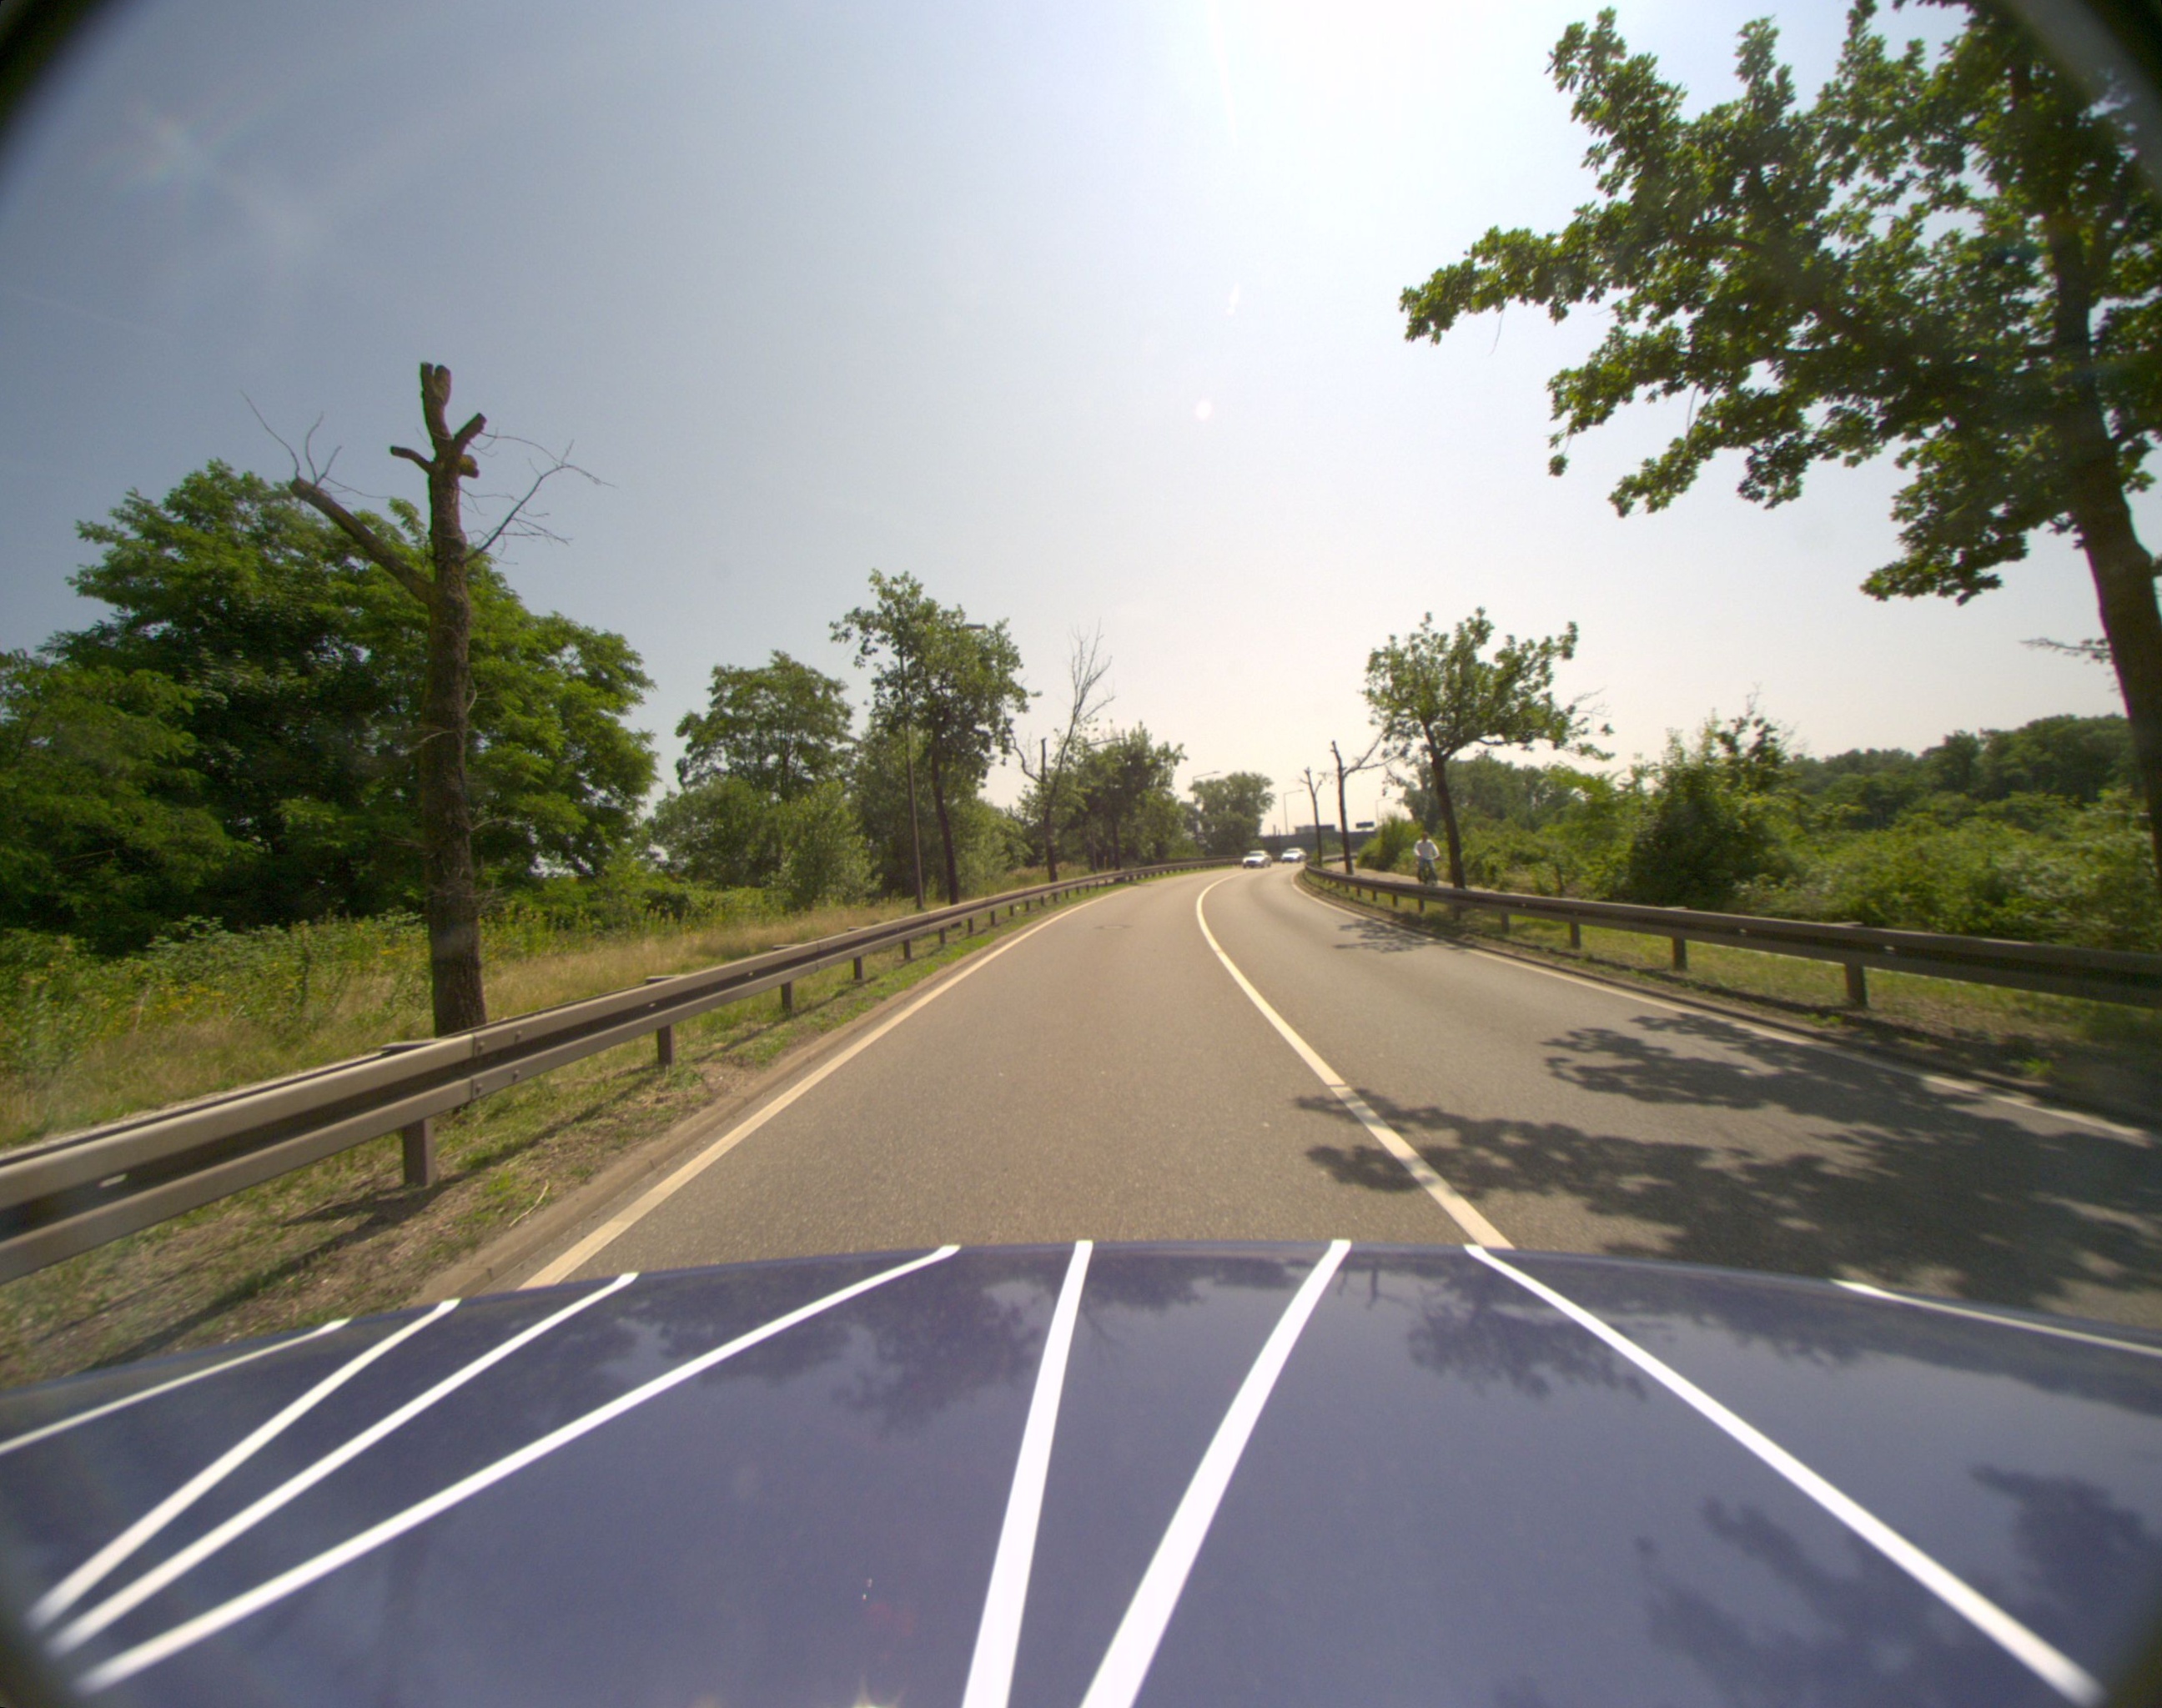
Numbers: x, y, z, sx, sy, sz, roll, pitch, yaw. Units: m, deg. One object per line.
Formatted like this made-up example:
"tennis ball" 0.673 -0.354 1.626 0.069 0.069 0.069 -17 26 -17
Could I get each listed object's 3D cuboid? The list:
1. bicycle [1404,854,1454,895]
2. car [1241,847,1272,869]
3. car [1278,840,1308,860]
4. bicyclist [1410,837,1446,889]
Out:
"bicycle" 10.006 0.569 21.909 0.735 1.110 2.047 0 1 8
"car" 14.800 0.314 63.791 1.760 1.491 4.238 -2 2 23
"car" 21.674 -0.426 77.595 1.795 1.772 4.301 -2 1 32
"bicyclist" 10.002 0.257 21.938 0.731 1.457 0.824 0 1 7
